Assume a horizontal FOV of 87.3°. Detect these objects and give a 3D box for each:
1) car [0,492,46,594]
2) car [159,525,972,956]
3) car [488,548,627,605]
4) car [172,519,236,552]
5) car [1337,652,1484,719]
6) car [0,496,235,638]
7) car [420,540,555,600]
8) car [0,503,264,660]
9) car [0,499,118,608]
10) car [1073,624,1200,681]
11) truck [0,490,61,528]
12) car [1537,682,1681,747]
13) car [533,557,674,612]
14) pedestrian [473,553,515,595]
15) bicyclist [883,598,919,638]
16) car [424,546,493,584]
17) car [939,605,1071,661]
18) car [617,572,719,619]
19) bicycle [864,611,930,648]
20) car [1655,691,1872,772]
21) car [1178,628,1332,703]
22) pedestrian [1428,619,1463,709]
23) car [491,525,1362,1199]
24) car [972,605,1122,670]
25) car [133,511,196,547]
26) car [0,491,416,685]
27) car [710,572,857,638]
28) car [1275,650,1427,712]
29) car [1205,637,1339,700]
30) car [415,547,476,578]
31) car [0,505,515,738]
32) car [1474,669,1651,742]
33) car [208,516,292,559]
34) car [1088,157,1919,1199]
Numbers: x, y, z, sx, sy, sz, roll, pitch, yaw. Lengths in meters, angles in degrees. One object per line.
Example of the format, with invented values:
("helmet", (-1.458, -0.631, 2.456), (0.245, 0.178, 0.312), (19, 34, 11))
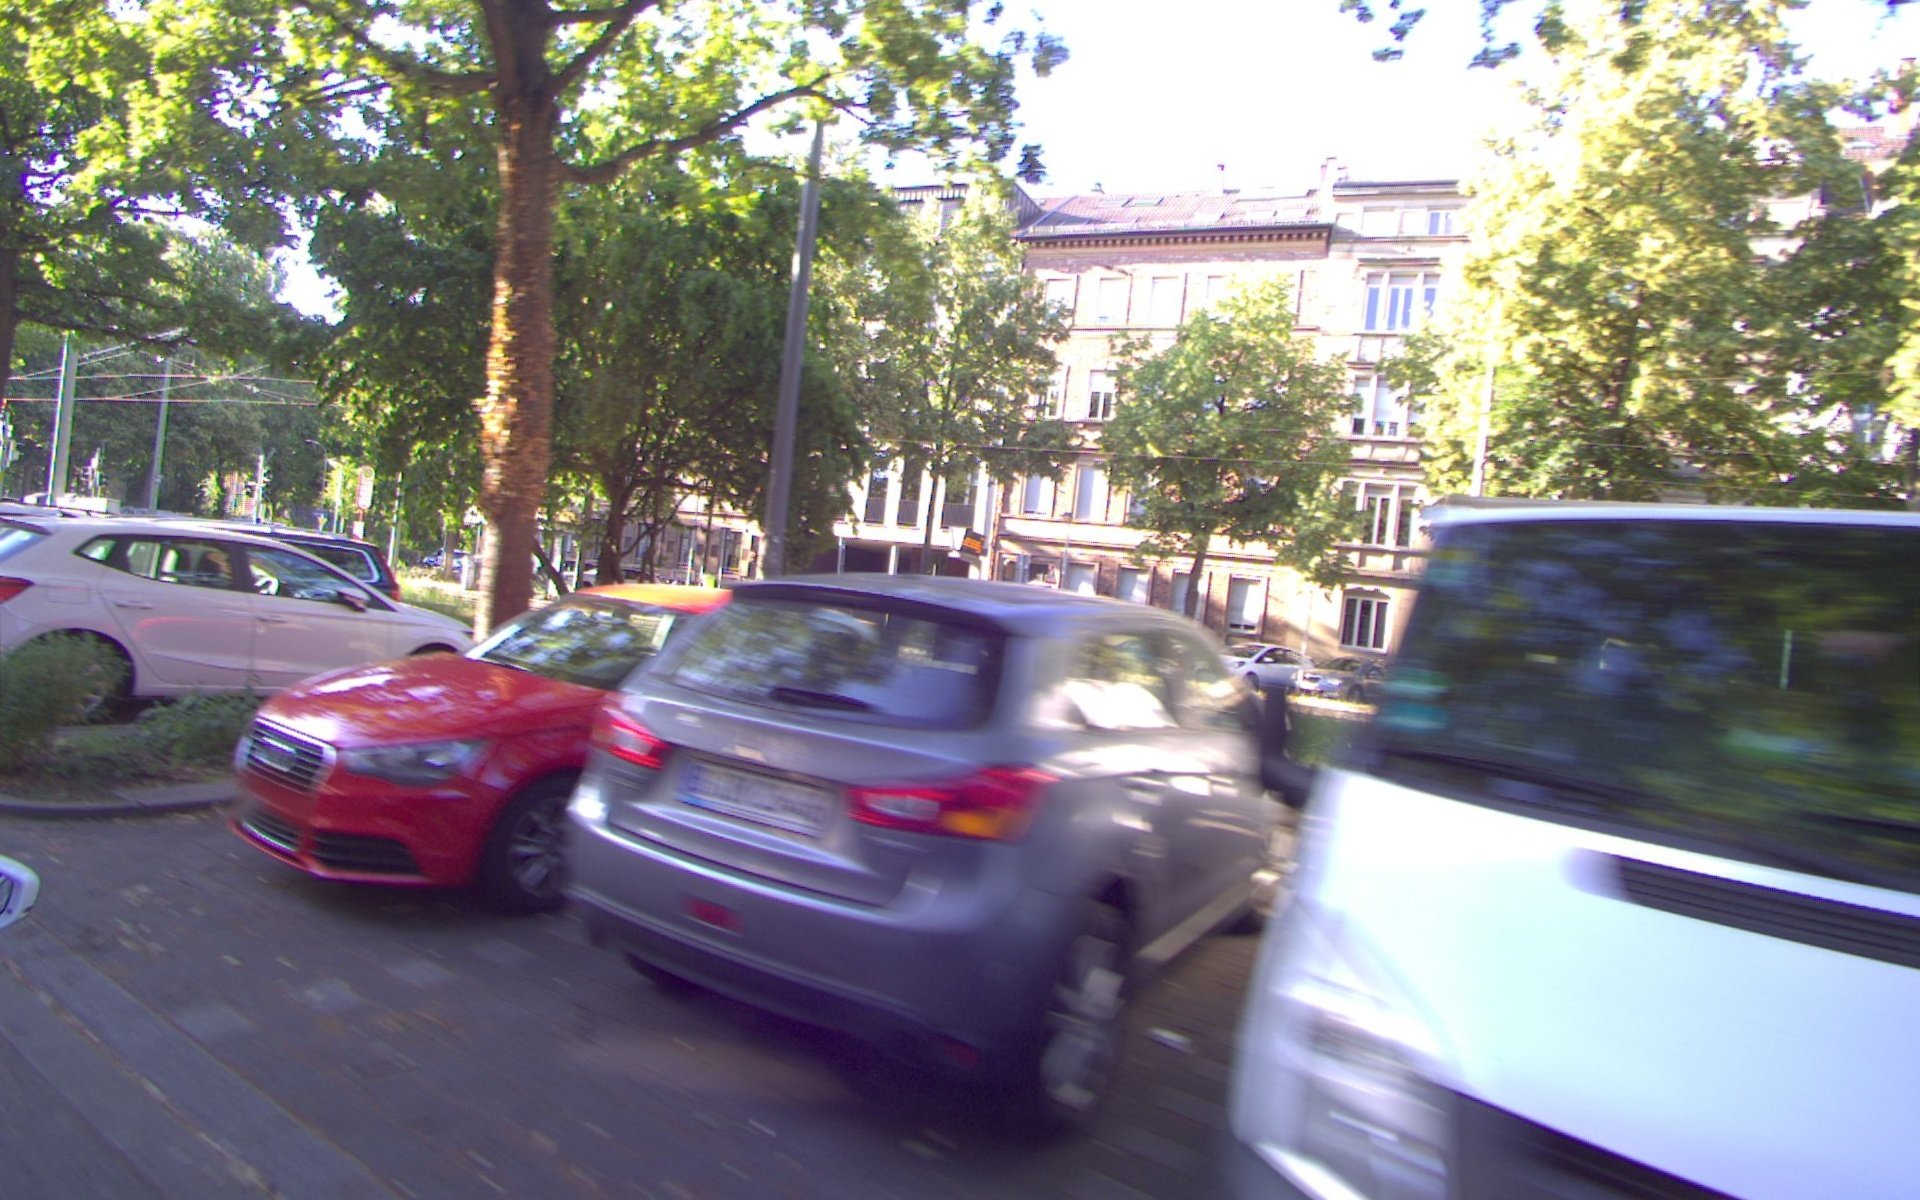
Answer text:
("car", (-18.165, -1.186, 16.396), (1.919, 1.711, 4.438), (5, -1, 34))
("car", (-1.727, 0.582, 5.676), (1.656, 1.441, 3.990), (6, 0, 32))
("car", (-15.392, -0.885, 38.594), (4.513, 1.655, 1.910), (6, 0, -37))
("car", (-47.156, -4.014, 62.725), (3.646, 1.658, 1.575), (6, 0, 25))
("car", (14.812, 2.791, 33.356), (4.163, 1.587, 1.999), (6, 1, 19))
("car", (-12.281, -0.509, 12.627), (1.968, 1.591, 4.703), (5, -1, 34))
("car", (-18.415, -1.154, 39.304), (4.388, 1.707, 1.723), (9, -1, -40))
("car", (-10.170, -0.235, 11.305), (1.691, 1.533, 3.401), (7, 0, 34))
("car", (-16.108, -0.891, 15.386), (1.919, 1.591, 4.541), (5, -1, 34))
("car", (6.427, 1.882, 36.644), (4.163, 1.587, 1.999), (6, 0, 19))
("truck", (-70.780, -6.910, 76.520), (4.312, 2.381, 2.369), (6, 0, 32))
("car", (16.318, 2.892, 25.235), (3.965, 1.295, 1.730), (6, 0, -38))
("car", (-13.188, -0.570, 37.337), (4.513, 1.506, 1.910), (6, 0, -37))
("pedestrian", (-15.610, -0.868, 33.720), (0.861, 1.288, 0.824), (6, 0, 24))
("bicyclist", (-2.167, 0.666, 37.070), (0.961, 1.371, 0.779), (6, 1, 21))
("car", (-29.333, -2.012, 58.978), (1.888, 1.675, 4.186), (10, -1, -2))
("car", (1.708, 1.249, 38.329), (4.509, 1.587, 1.998), (6, 1, 23))
("car", (-12.994, -0.201, 44.755), (4.090, 1.506, 1.743), (6, -3, 25))
("bicycle", (-2.307, 1.079, 37.088), (2.214, 1.099, 0.779), (6, 1, 21))
("car", (23.787, 3.852, 30.016), (4.527, 1.587, 1.999), (6, 1, 20))
("car", (8.445, 1.874, 28.647), (4.240, 1.716, 1.793), (6, 0, -34))
("pedestrian", (16.577, 2.173, 34.349), (0.687, 2.984, 0.920), (6, 1, 20))
("car", (0.363, 0.757, 4.420), (1.737, 1.600, 3.989), (6, 0, 33))
("car", (2.671, 1.159, 30.544), (4.240, 1.506, 1.793), (6, 0, -34))
("car", (-51.235, -4.571, 64.775), (3.833, 1.927, 1.575), (6, 0, 26))
("car", (-8.174, -0.094, 9.700), (1.968, 1.591, 4.703), (5, -1, 34))
("car", (-6.030, 0.189, 34.467), (4.498, 1.743, 1.916), (6, 0, -28))
("car", (10.626, 2.209, 27.233), (4.244, 1.295, 1.791), (6, 0, -37))
("car", (10.775, 2.323, 34.790), (4.163, 1.587, 1.999), (6, 1, 19))
("car", (-35.050, -2.532, 68.624), (1.799, 1.633, 4.290), (10, -1, -2))
("car", (-5.988, 0.165, 8.202), (1.656, 1.479, 3.990), (6, 0, 32))
("car", (18.915, 3.276, 31.837), (4.335, 1.587, 1.999), (6, 1, 19))
("car", (-42.955, -3.786, 60.820), (4.575, 2.028, 1.949), (6, 0, 24))
("car", (2.381, 0.745, 2.956), (2.120, 2.064, 4.848), (6, 0, 32))
